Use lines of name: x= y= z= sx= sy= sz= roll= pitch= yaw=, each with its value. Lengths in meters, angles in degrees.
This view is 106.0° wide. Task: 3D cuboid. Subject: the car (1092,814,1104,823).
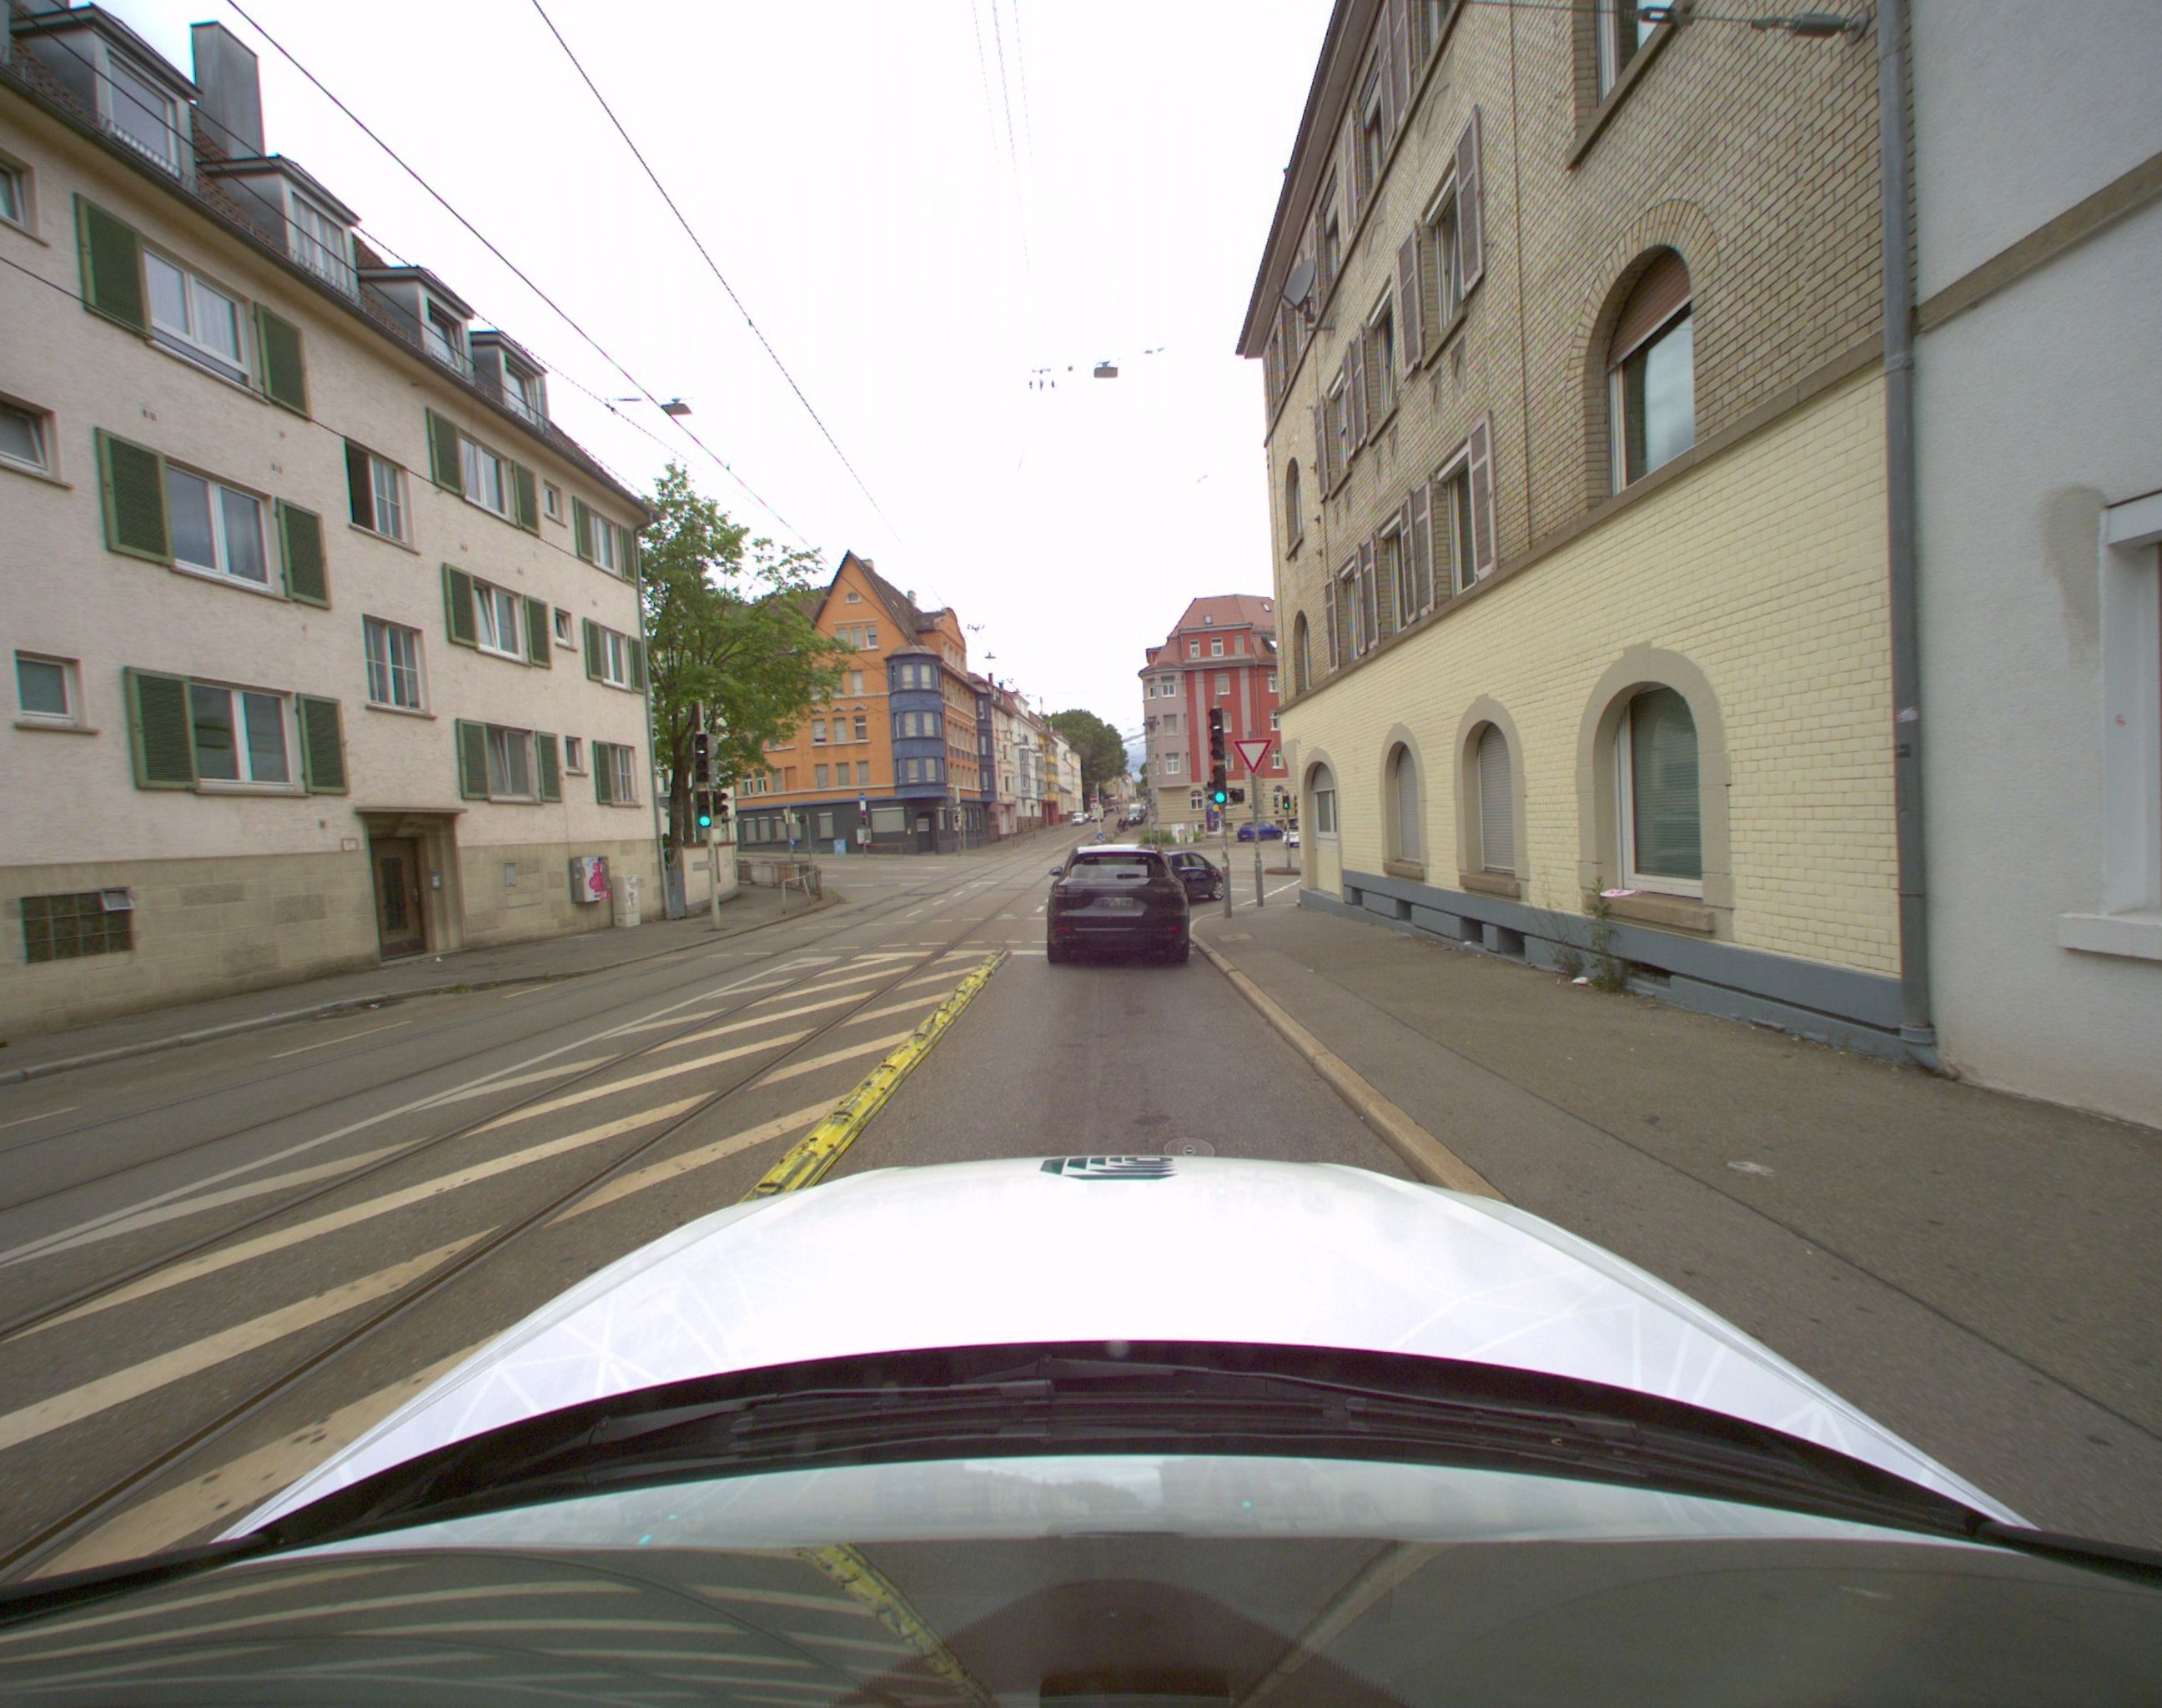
car: x=2.768 y=-5.672 z=130.839 sx=1.677 sy=1.326 sz=3.670 roll=-1 pitch=3 yaw=6

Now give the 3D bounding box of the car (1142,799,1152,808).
car: x=16.003 y=-12.366 z=198.594 sx=2.255 sy=2.183 sz=4.779 roll=-1 pitch=3 yaw=6

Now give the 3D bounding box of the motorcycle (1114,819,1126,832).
motorcycle: x=4.191 y=-3.115 z=88.068 sx=0.858 sy=1.326 sz=2.182 roll=-8 pitch=3 yaw=-3

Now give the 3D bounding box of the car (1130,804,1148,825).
car: x=8.377 y=-5.752 z=117.460 sx=2.255 sy=2.889 sz=4.779 roll=-1 pitch=3 yaw=6

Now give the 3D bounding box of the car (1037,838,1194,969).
car: x=0.664 y=0.595 z=12.700 sx=2.014 sy=1.641 sz=4.364 roll=0 pitch=2 yaw=6

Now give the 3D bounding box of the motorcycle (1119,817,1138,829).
motorcycle: x=5.778 y=-3.762 z=98.569 sx=2.173 sy=1.326 sz=0.699 roll=-1 pitch=3 yaw=-5

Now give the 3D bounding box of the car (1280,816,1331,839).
car: x=18.083 y=-2.168 z=65.475 sx=4.163 sy=1.534 sz=1.897 roll=-6 pitch=5 yaw=-39

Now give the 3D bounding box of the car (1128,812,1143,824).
car: x=7.448 y=-4.945 z=111.757 sx=1.831 sy=1.568 sz=3.827 roll=-1 pitch=3 yaw=6

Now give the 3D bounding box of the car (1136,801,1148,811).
car: x=13.346 y=-10.472 z=177.945 sx=2.255 sy=2.183 sz=4.779 roll=-1 pitch=3 yaw=6

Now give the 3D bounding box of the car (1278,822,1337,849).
car: x=15.086 y=-1.264 z=54.197 sx=4.165 sy=1.534 sz=1.895 roll=-6 pitch=6 yaw=-43

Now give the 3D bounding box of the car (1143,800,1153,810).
car: x=15.866 y=-11.590 z=192.204 sx=2.255 sy=2.183 sz=4.779 roll=-1 pitch=3 yaw=6

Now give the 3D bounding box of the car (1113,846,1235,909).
car: x=2.611 y=0.564 z=22.169 sx=1.738 sy=1.447 sz=3.776 roll=3 pitch=3 yaw=33

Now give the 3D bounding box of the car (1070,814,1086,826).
car: x=-0.457 y=-5.189 z=123.930 sx=1.983 sy=1.692 sz=4.009 roll=-1 pitch=3 yaw=6

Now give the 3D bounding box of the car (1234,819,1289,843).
car: x=13.699 y=-1.799 z=61.818 sx=4.163 sy=1.534 sz=1.896 roll=-6 pitch=6 yaw=-40
